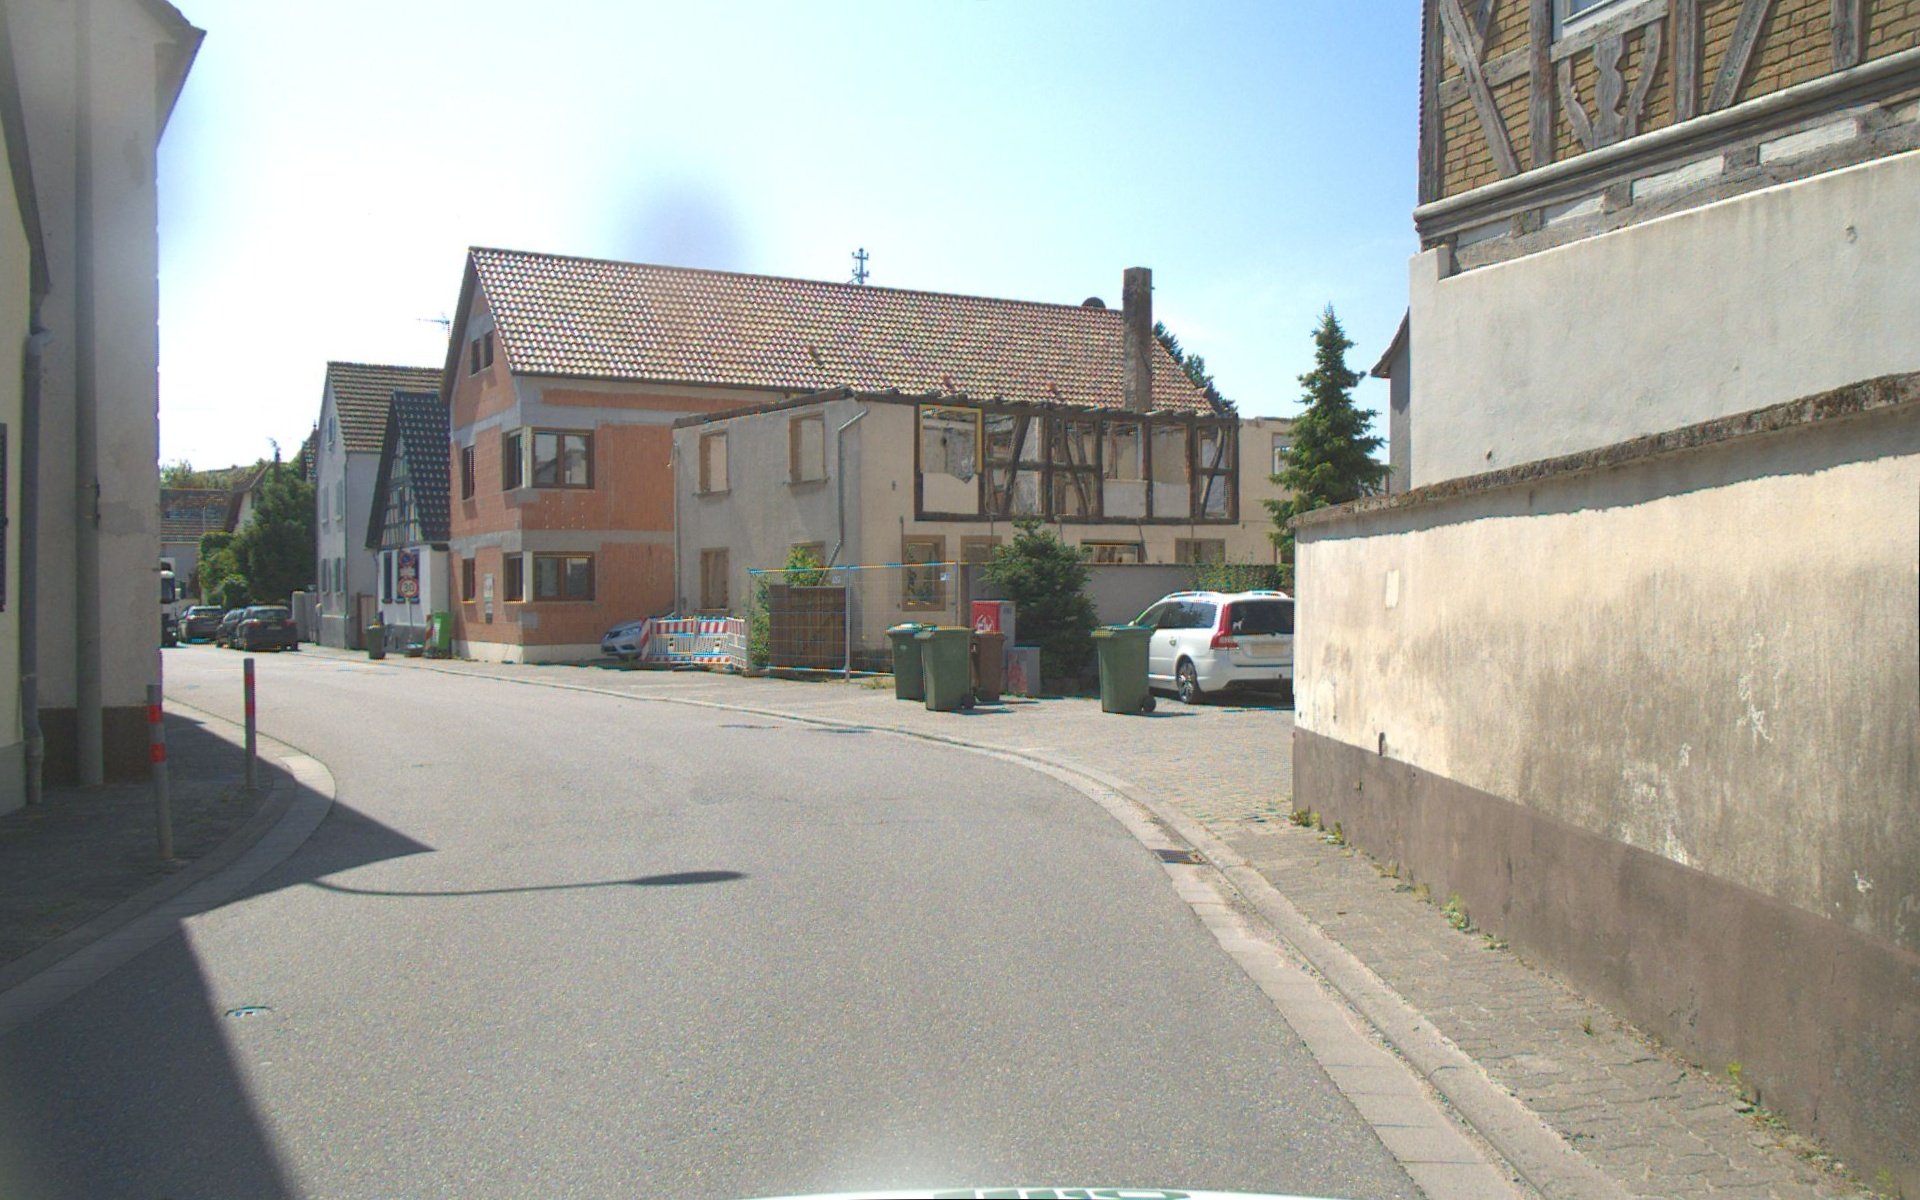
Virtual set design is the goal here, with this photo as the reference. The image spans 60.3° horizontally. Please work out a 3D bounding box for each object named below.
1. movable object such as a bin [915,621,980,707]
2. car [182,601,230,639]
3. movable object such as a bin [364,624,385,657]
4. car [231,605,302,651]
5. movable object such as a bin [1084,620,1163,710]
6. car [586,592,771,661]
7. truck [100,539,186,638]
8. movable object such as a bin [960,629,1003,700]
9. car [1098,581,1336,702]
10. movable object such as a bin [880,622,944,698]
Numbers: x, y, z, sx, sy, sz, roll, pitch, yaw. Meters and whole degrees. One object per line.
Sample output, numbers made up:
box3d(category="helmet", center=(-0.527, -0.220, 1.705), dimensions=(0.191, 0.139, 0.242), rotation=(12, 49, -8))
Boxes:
box3d(category="movable object such as a bin", center=(-0.171, 0.848, 22.172), dimensions=(0.677, 1.111, 0.633), rotation=(0, 0, -23))
box3d(category="car", center=(-33.952, 0.874, 74.424), dimensions=(1.773, 1.659, 4.321), rotation=(0, 0, -28))
box3d(category="movable object such as a bin", center=(-17.023, 1.176, 48.110), dimensions=(0.529, 0.929, 0.549), rotation=(-1, 0, -14))
box3d(category="car", center=(-25.334, 0.981, 60.345), dimensions=(1.779, 1.587, 4.583), rotation=(-1, 0, -30))
box3d(category="movable object such as a bin", center=(2.084, 0.812, 21.120), dimensions=(0.711, 1.100, 0.749), rotation=(0, 0, -27))
box3d(category="car", center=(-6.822, 0.612, 40.209), dimensions=(4.058, 1.533, 1.845), rotation=(-2, 1, -37))
box3d(category="truck", center=(-34.471, -0.457, 69.559), dimensions=(2.667, 3.816, 10.761), rotation=(0, 0, -29))
box3d(category="movable object such as a bin", center=(0.303, 0.912, 23.505), dimensions=(0.459, 0.987, 0.492), rotation=(0, 0, -24))
box3d(category="car", center=(3.589, 0.523, 23.918), dimensions=(1.781, 1.555, 4.278), rotation=(-1, 1, -16))
box3d(category="movable object such as a bin", center=(-0.705, 0.876, 24.386), dimensions=(0.657, 1.091, 0.761), rotation=(0, 0, 26))
